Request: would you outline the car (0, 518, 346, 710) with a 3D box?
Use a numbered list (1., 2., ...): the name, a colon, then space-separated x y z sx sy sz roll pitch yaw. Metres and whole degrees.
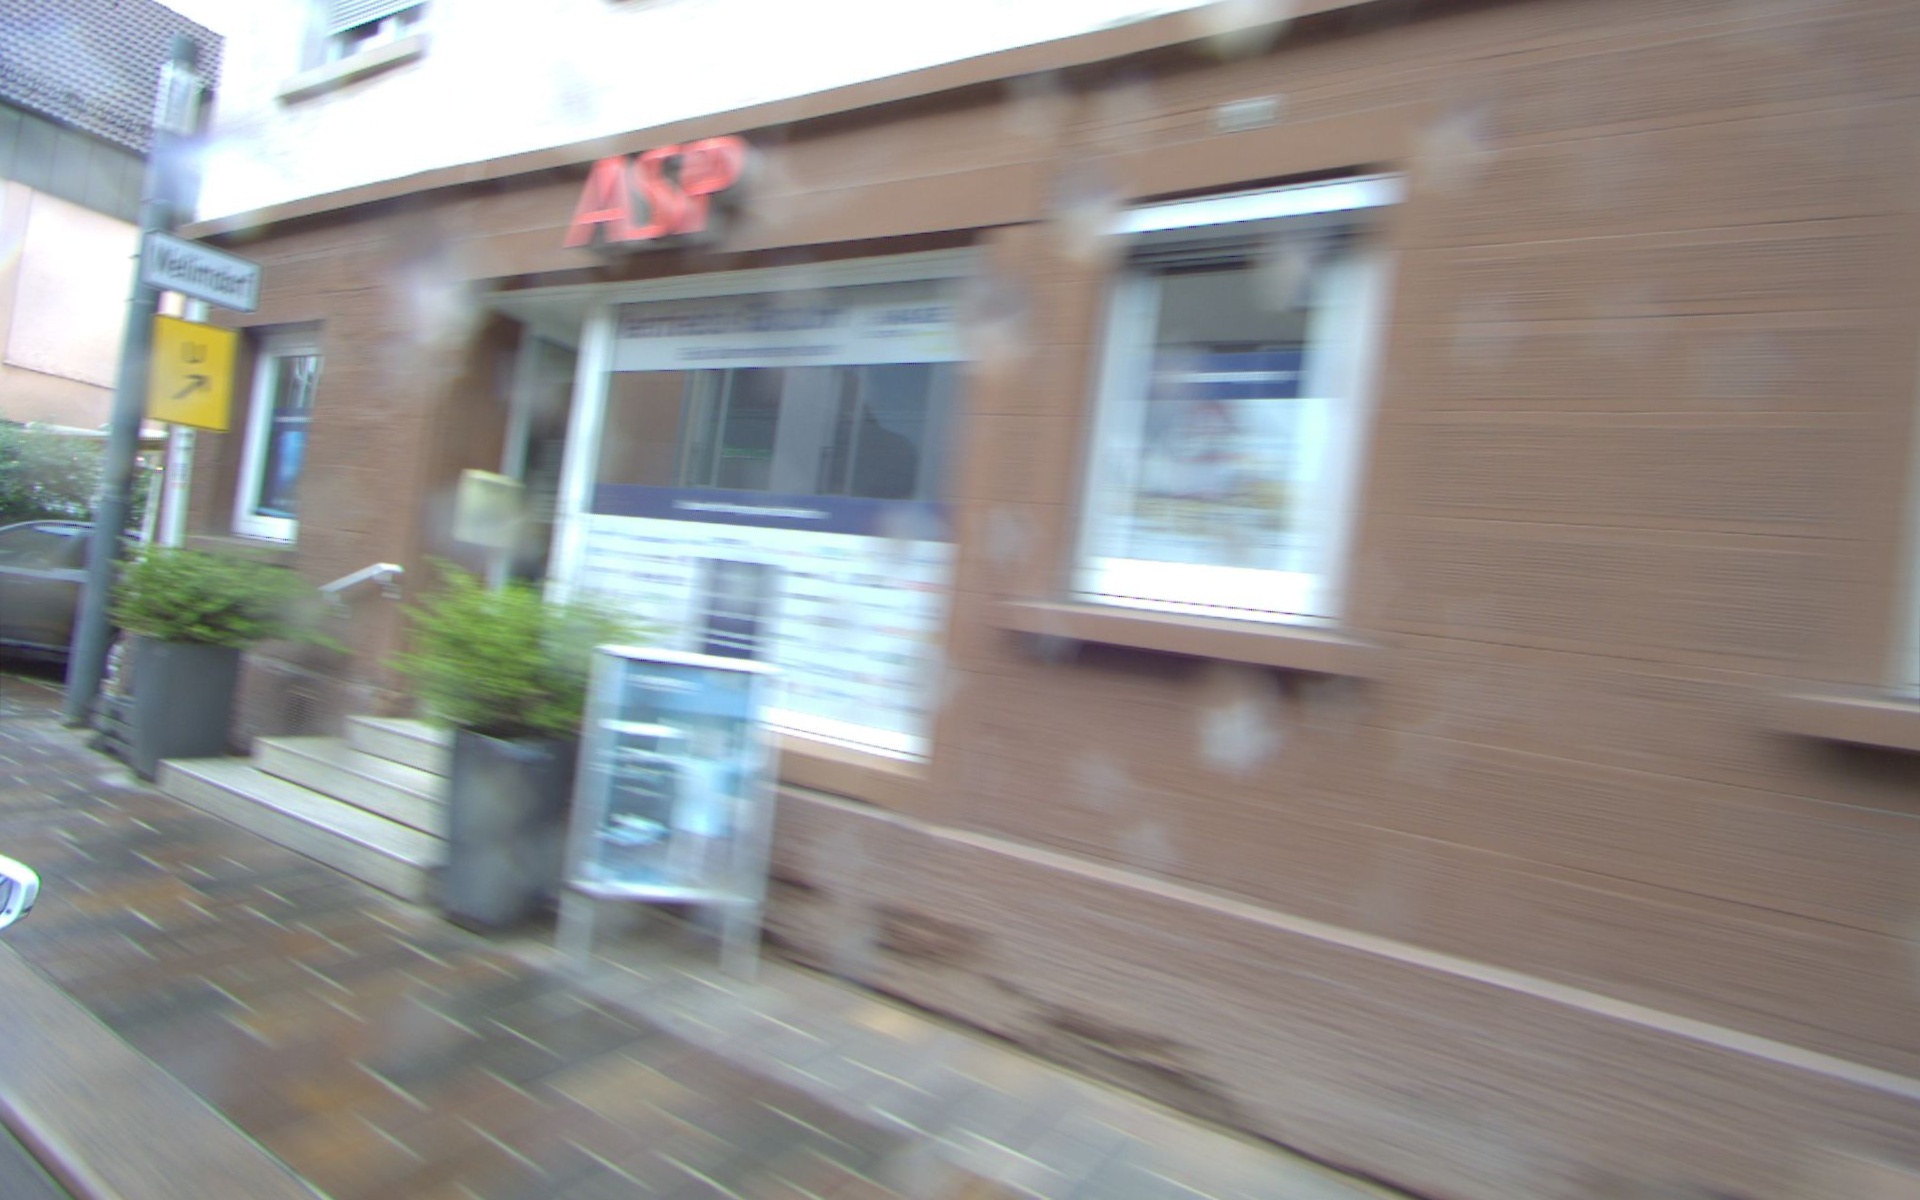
1. car: -8.227 0.030 9.416 3.861 1.373 1.741 7 -2 7
